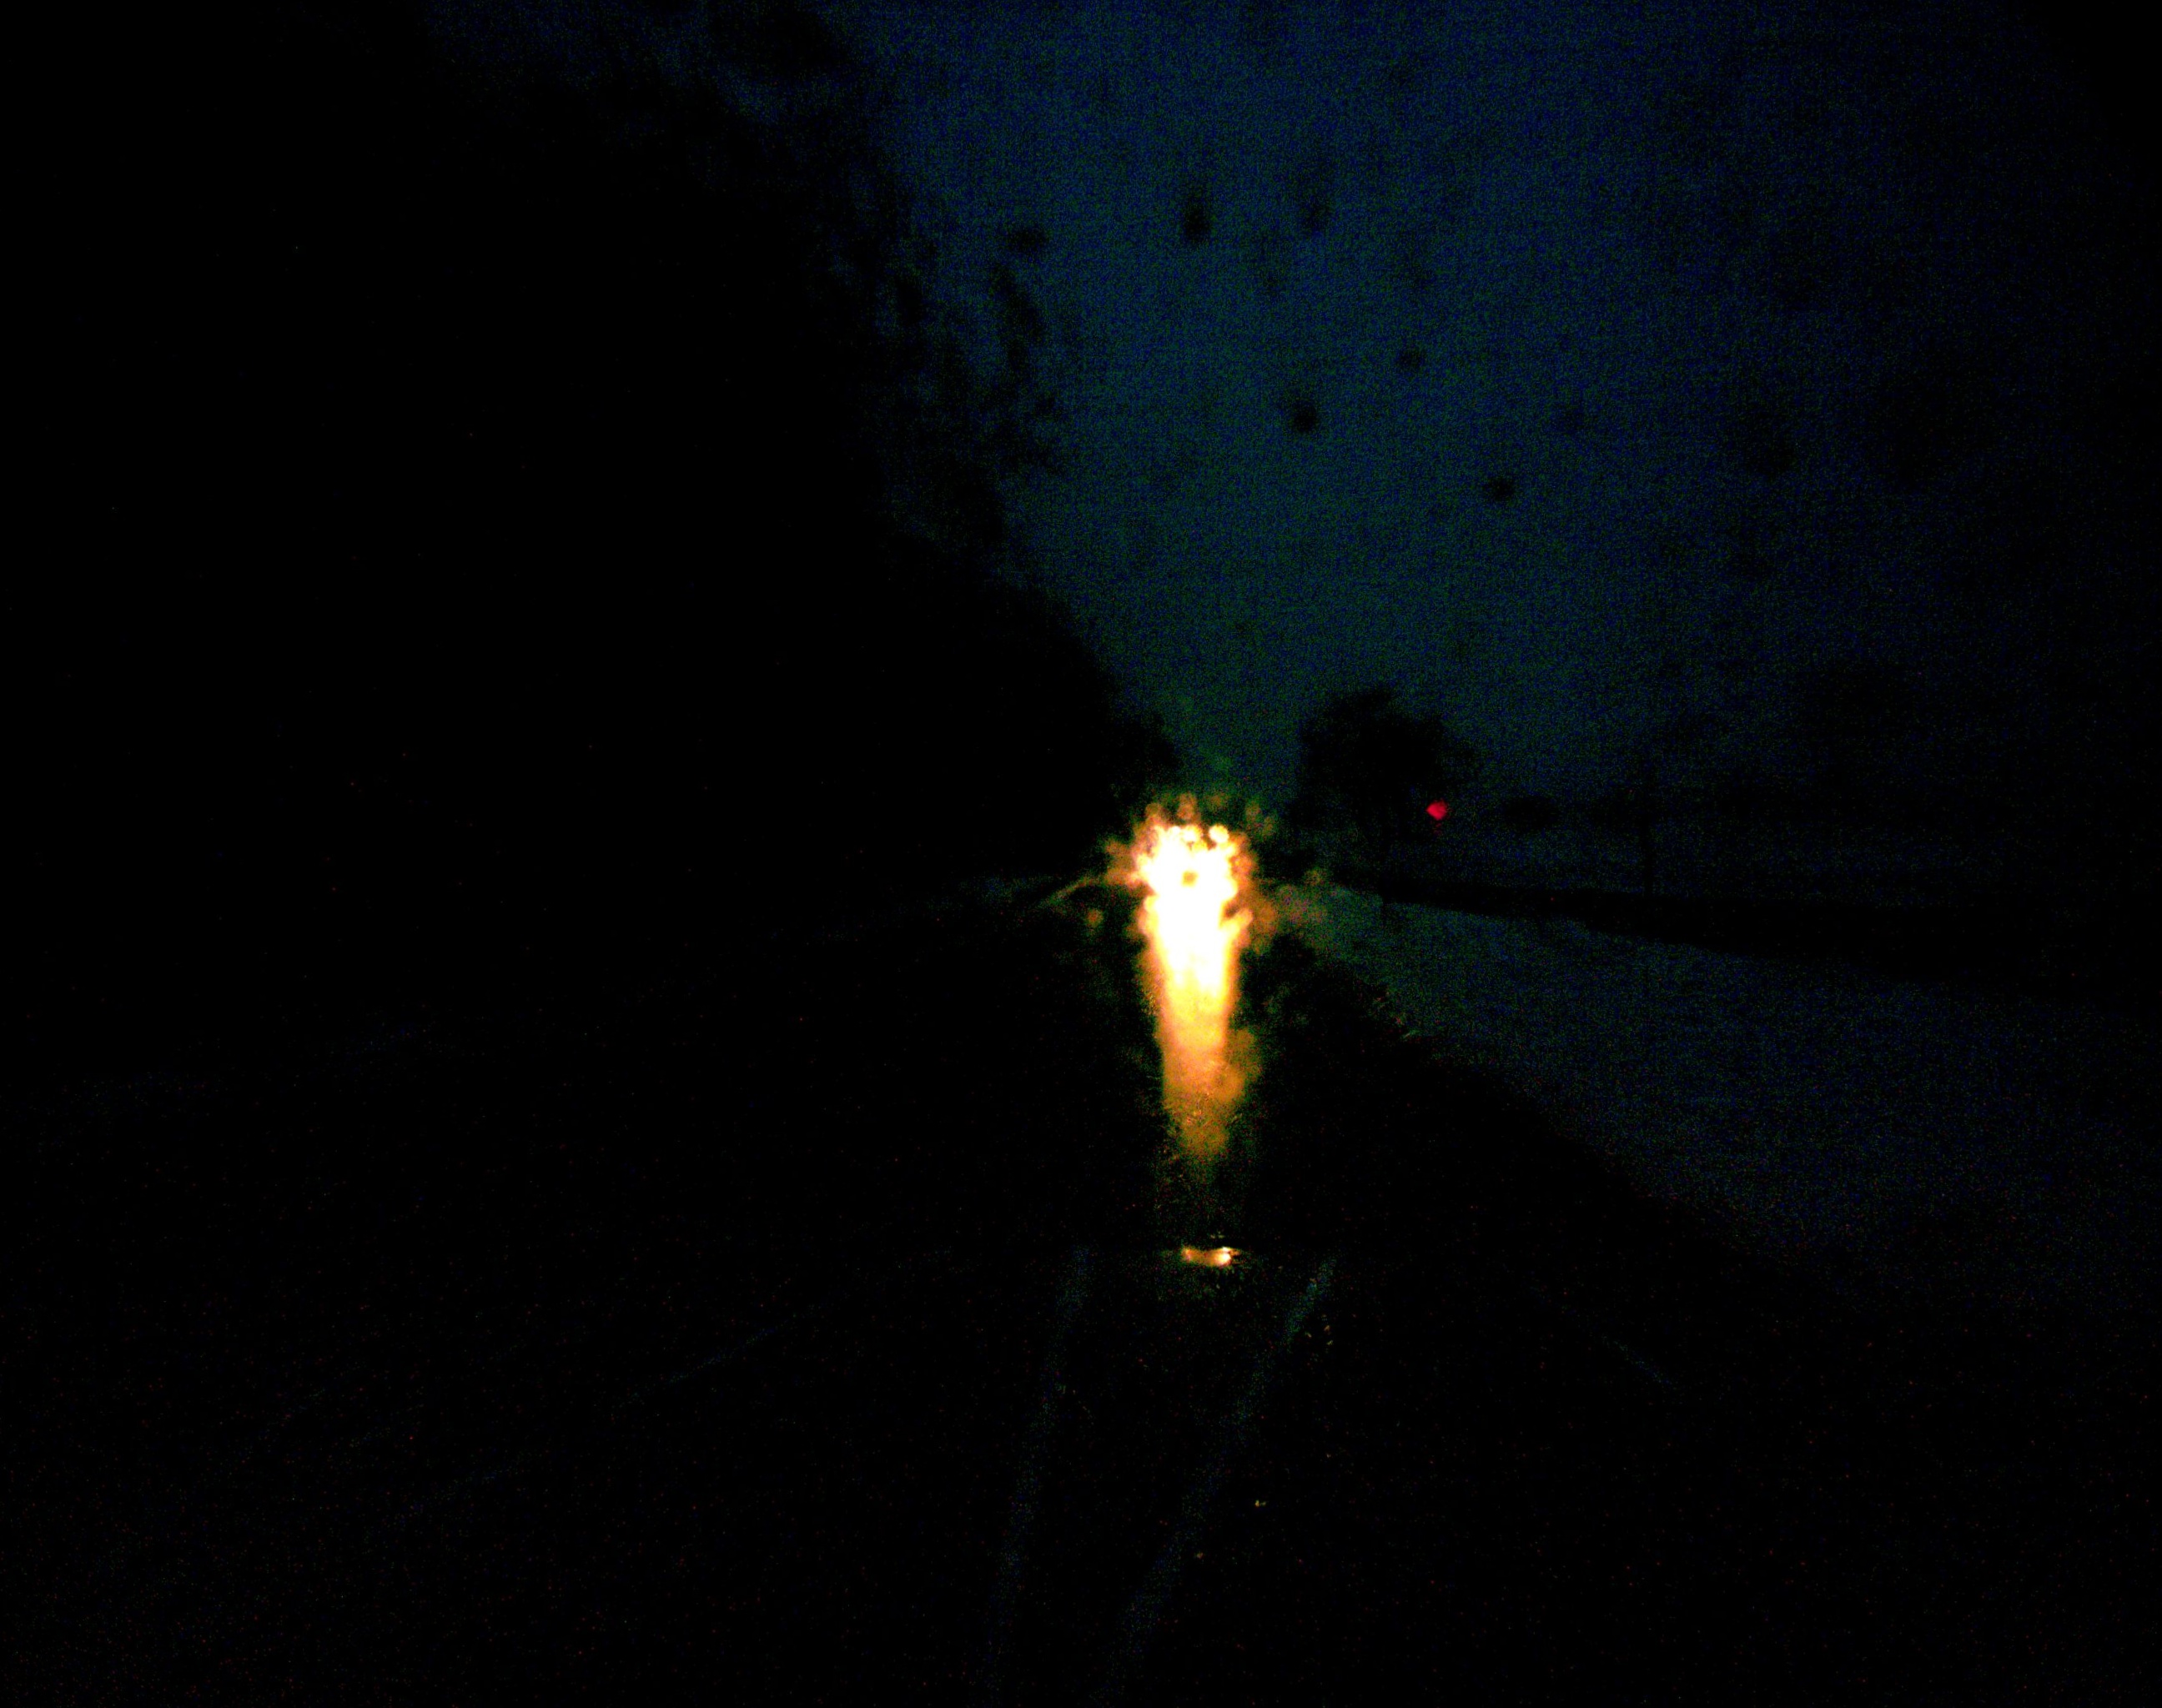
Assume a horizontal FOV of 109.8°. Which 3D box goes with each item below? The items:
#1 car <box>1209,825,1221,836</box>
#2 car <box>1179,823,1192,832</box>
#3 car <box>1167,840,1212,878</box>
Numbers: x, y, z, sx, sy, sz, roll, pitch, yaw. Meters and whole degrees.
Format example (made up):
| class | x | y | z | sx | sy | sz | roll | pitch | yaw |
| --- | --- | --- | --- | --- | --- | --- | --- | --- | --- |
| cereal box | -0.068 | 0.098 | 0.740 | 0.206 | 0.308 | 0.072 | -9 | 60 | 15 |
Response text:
| class | x | y | z | sx | sy | sz | roll | pitch | yaw |
| --- | --- | --- | --- | --- | --- | --- | --- | --- | --- |
| car | 25.233 | -4.428 | 142.930 | 1.997 | 1.797 | 4.001 | -2 | 2 | 9 |
| car | 21.002 | -5.330 | 152.641 | 1.999 | 1.797 | 3.998 | -2 | 2 | 0 |
| car | 4.648 | 0.183 | 32.115 | 1.724 | 1.426 | 3.679 | -2 | 1 | 10 |
